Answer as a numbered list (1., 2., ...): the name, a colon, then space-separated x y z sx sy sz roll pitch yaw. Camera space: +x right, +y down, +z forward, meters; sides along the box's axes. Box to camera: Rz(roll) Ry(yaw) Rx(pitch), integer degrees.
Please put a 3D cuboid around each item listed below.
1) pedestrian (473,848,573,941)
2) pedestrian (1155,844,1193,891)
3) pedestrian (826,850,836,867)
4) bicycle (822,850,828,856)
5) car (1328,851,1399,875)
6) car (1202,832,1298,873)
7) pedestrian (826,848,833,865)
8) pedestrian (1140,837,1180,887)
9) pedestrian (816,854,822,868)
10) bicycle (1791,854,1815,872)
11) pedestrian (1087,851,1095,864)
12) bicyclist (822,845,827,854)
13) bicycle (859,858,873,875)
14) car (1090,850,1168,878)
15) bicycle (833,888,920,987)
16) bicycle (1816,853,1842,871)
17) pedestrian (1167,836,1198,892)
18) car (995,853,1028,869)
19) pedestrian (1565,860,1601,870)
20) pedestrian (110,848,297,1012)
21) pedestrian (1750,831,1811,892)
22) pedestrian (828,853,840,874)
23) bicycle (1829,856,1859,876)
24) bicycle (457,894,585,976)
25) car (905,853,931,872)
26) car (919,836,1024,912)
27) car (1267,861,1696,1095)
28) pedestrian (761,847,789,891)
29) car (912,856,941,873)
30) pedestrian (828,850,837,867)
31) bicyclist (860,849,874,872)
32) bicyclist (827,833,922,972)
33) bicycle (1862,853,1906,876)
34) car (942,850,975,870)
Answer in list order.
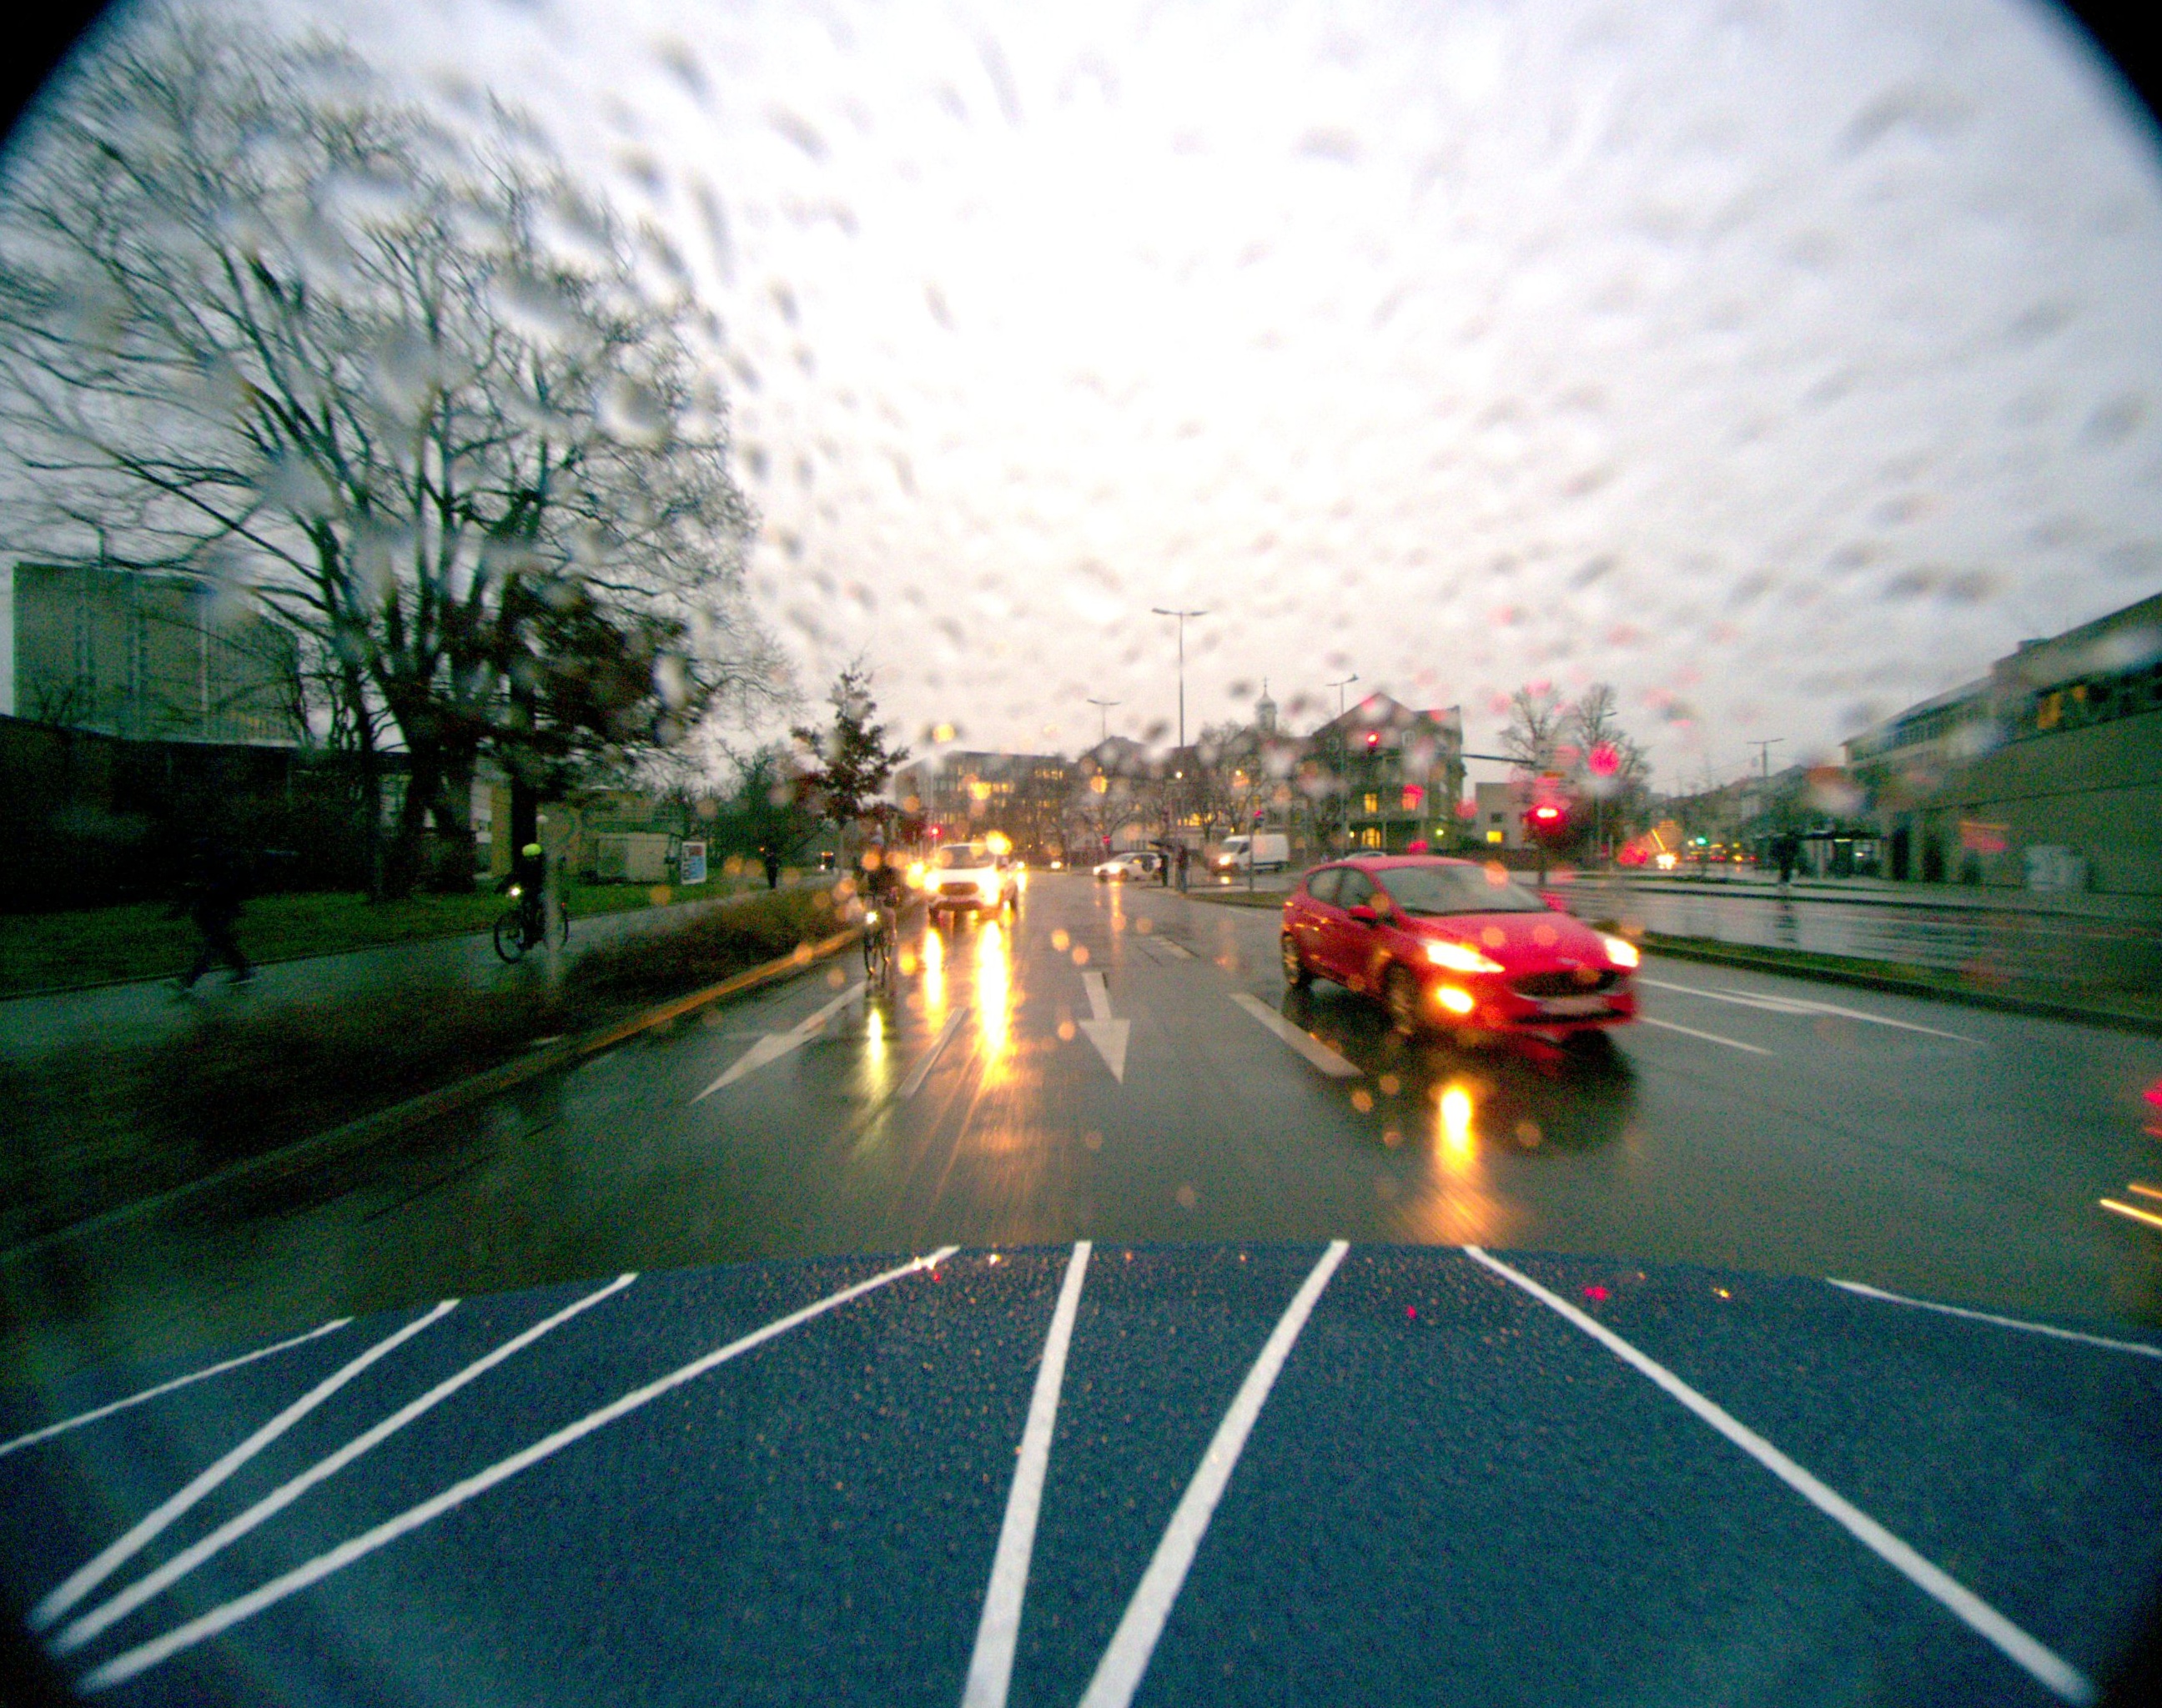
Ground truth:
1. pedestrian: -8.176 0.572 11.178 0.877 1.309 0.847 0 1 -7
2. pedestrian: 3.722 0.547 30.352 1.037 1.846 1.068 0 -2 -37
3. pedestrian: -28.115 0.502 85.426 0.934 1.815 0.832 0 1 -21
4. bicycle: -43.868 -0.213 130.067 0.795 1.009 2.898 0 1 -21
5. car: 19.844 0.619 53.383 4.823 1.634 1.835 0 1 -25
6. car: 10.835 -0.067 48.730 5.877 2.502 2.343 0 -2 -29
7. pedestrian: -30.841 0.302 93.217 0.767 2.002 0.909 0 1 -22
8. pedestrian: 3.284 0.348 31.664 1.217 2.037 1.033 0 -2 -35
9. pedestrian: -37.536 1.024 108.920 0.767 2.002 0.771 0 1 -22
10. bicycle: 46.376 0.578 48.823 0.645 1.098 2.757 -2 -2 34
11. pedestrian: 1.380 0.463 104.222 0.810 1.820 0.945 0 1 -25
12. bicyclist: -43.855 -0.734 130.030 0.768 1.481 0.992 0 1 -21
13. bicycle: -15.667 0.891 55.509 0.806 1.135 2.211 3 0 -12
14. car: 2.737 0.570 42.920 4.326 1.494 1.751 1 -2 -40
15. bicycle: -2.949 1.161 11.152 0.794 1.215 1.903 -2 0 -2
16. bicycle: 47.312 0.534 48.087 0.645 1.098 2.757 -2 -2 34
17. pedestrian: 3.676 0.375 27.534 0.848 1.993 1.109 -1 -2 -5
18. car: -6.498 0.646 70.762 1.934 1.368 4.490 0 0 -21
19. pedestrian: 53.157 1.173 80.495 3.091 0.924 0.951 -2 -2 35
20. pedestrian: -9.545 0.778 8.322 0.810 1.678 1.070 1 1 -4
21. pedestrian: 21.717 0.250 23.631 1.033 1.846 1.237 -2 -2 27
22. pedestrian: -21.259 0.842 65.439 0.934 1.815 0.832 0 1 -21
23. bicycle: 42.325 0.673 42.180 0.645 1.098 2.757 -2 -2 34
24. bicycle: -8.142 1.135 11.170 0.563 0.941 2.093 0 1 -8
25. car: -16.020 0.774 74.517 2.002 1.827 3.993 0 0 -19
26. car: -2.992 0.591 21.892 2.136 1.909 5.019 -1 -2 2
27. car: 3.256 0.862 7.168 1.705 1.473 3.870 -3 0 -5
28. pedestrian: -12.126 0.598 30.137 0.913 1.677 0.926 1 -2 -16
29. car: -13.938 0.906 68.337 1.776 1.478 4.462 0 0 -21
30. pedestrian: -26.017 0.483 79.535 0.934 1.815 0.832 0 1 -21
31. bicyclist: -15.670 0.472 55.608 0.806 1.608 1.084 3 0 -12
32. bicyclist: -2.961 0.661 11.051 1.026 1.872 1.235 -2 1 -2
33. bicycle: 40.369 0.506 38.221 0.606 1.098 2.756 -2 -1 27
34. car: -11.284 0.556 69.905 2.002 1.739 4.936 0 0 -21
